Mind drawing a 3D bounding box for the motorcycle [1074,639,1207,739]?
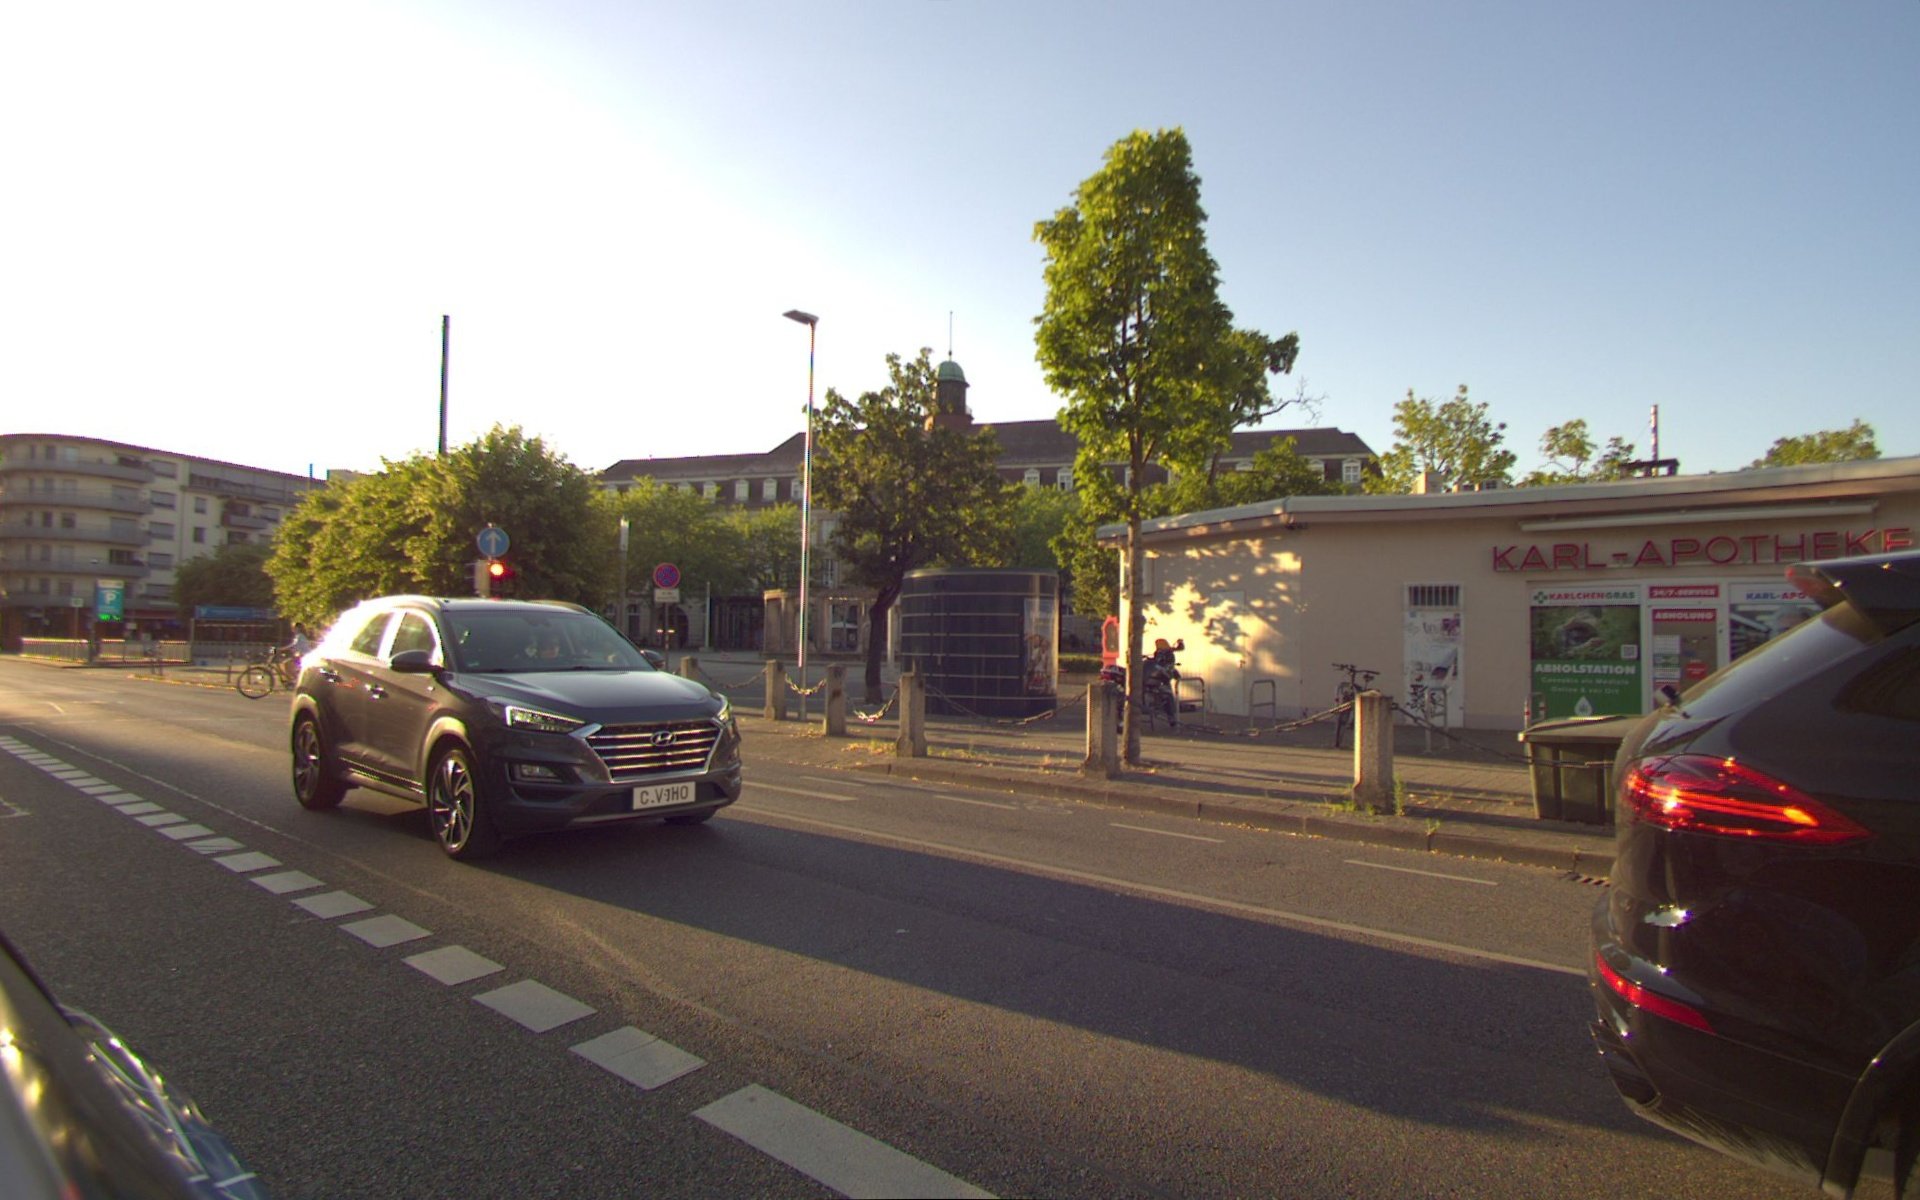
[{"bbox_3d":[2.877,1.348,15.854,0.868,1.440,2.554,-2,-4,41],"label":"motorcycle"}]

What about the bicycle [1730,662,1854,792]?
[{"bbox_3d":[9.104,1.315,11.056,0.949,1.266,1.984,-2,-4,41],"label":"bicycle"}]

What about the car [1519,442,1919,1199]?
[{"bbox_3d":[3.562,0.590,1.461,4.556,1.727,1.929,-2,-4,39],"label":"car"}]

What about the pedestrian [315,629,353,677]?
[{"bbox_3d":[-24.557,2.071,39.712,0.937,1.831,0.827,1,-3,-10],"label":"pedestrian"}]

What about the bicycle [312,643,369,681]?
[{"bbox_3d":[-21.130,2.107,34.536,0.444,1.262,1.571,-2,-2,38],"label":"bicycle"}]

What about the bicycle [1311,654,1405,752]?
[{"bbox_3d":[5.534,1.388,14.026,0.632,1.266,1.834,-2,-4,41],"label":"bicycle"}]

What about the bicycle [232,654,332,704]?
[{"bbox_3d":[-15.888,1.847,23.772,1.889,1.126,0.707,3,-4,-33],"label":"bicycle"}]

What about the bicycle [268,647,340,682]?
[{"bbox_3d":[-22.508,2.192,34.757,0.548,1.143,2.007,-2,-2,36],"label":"bicycle"}]

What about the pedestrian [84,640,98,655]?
[{"bbox_3d":[-74.279,4.060,86.484,0.887,1.332,0.723,-2,-3,38],"label":"pedestrian"}]

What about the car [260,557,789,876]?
[{"bbox_3d":[-3.449,0.734,7.585,4.447,1.702,1.853,-2,-5,41],"label":"car"}]

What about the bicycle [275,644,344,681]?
[{"bbox_3d":[-23.384,2.231,36.403,0.548,1.262,2.007,-2,-2,36],"label":"bicycle"}]

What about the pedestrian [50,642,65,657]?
[{"bbox_3d":[-74.830,4.115,83.947,0.875,1.201,0.734,2,-4,-40],"label":"pedestrian"}]

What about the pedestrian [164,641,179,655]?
[{"bbox_3d":[-71.818,4.375,92.196,0.721,1.332,0.891,1,-3,-11],"label":"pedestrian"}]

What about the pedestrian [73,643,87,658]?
[{"bbox_3d":[-74.873,4.293,86.086,0.888,1.332,0.723,-2,-4,39],"label":"pedestrian"}]

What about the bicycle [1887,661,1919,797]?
[{"bbox_3d":[9.956,1.254,10.212,0.787,1.266,2.418,-2,-4,41],"label":"bicycle"}]

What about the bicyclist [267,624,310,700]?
[{"bbox_3d":[-15.781,1.442,23.797,0.766,1.737,0.857,3,-4,-34],"label":"bicyclist"}]
